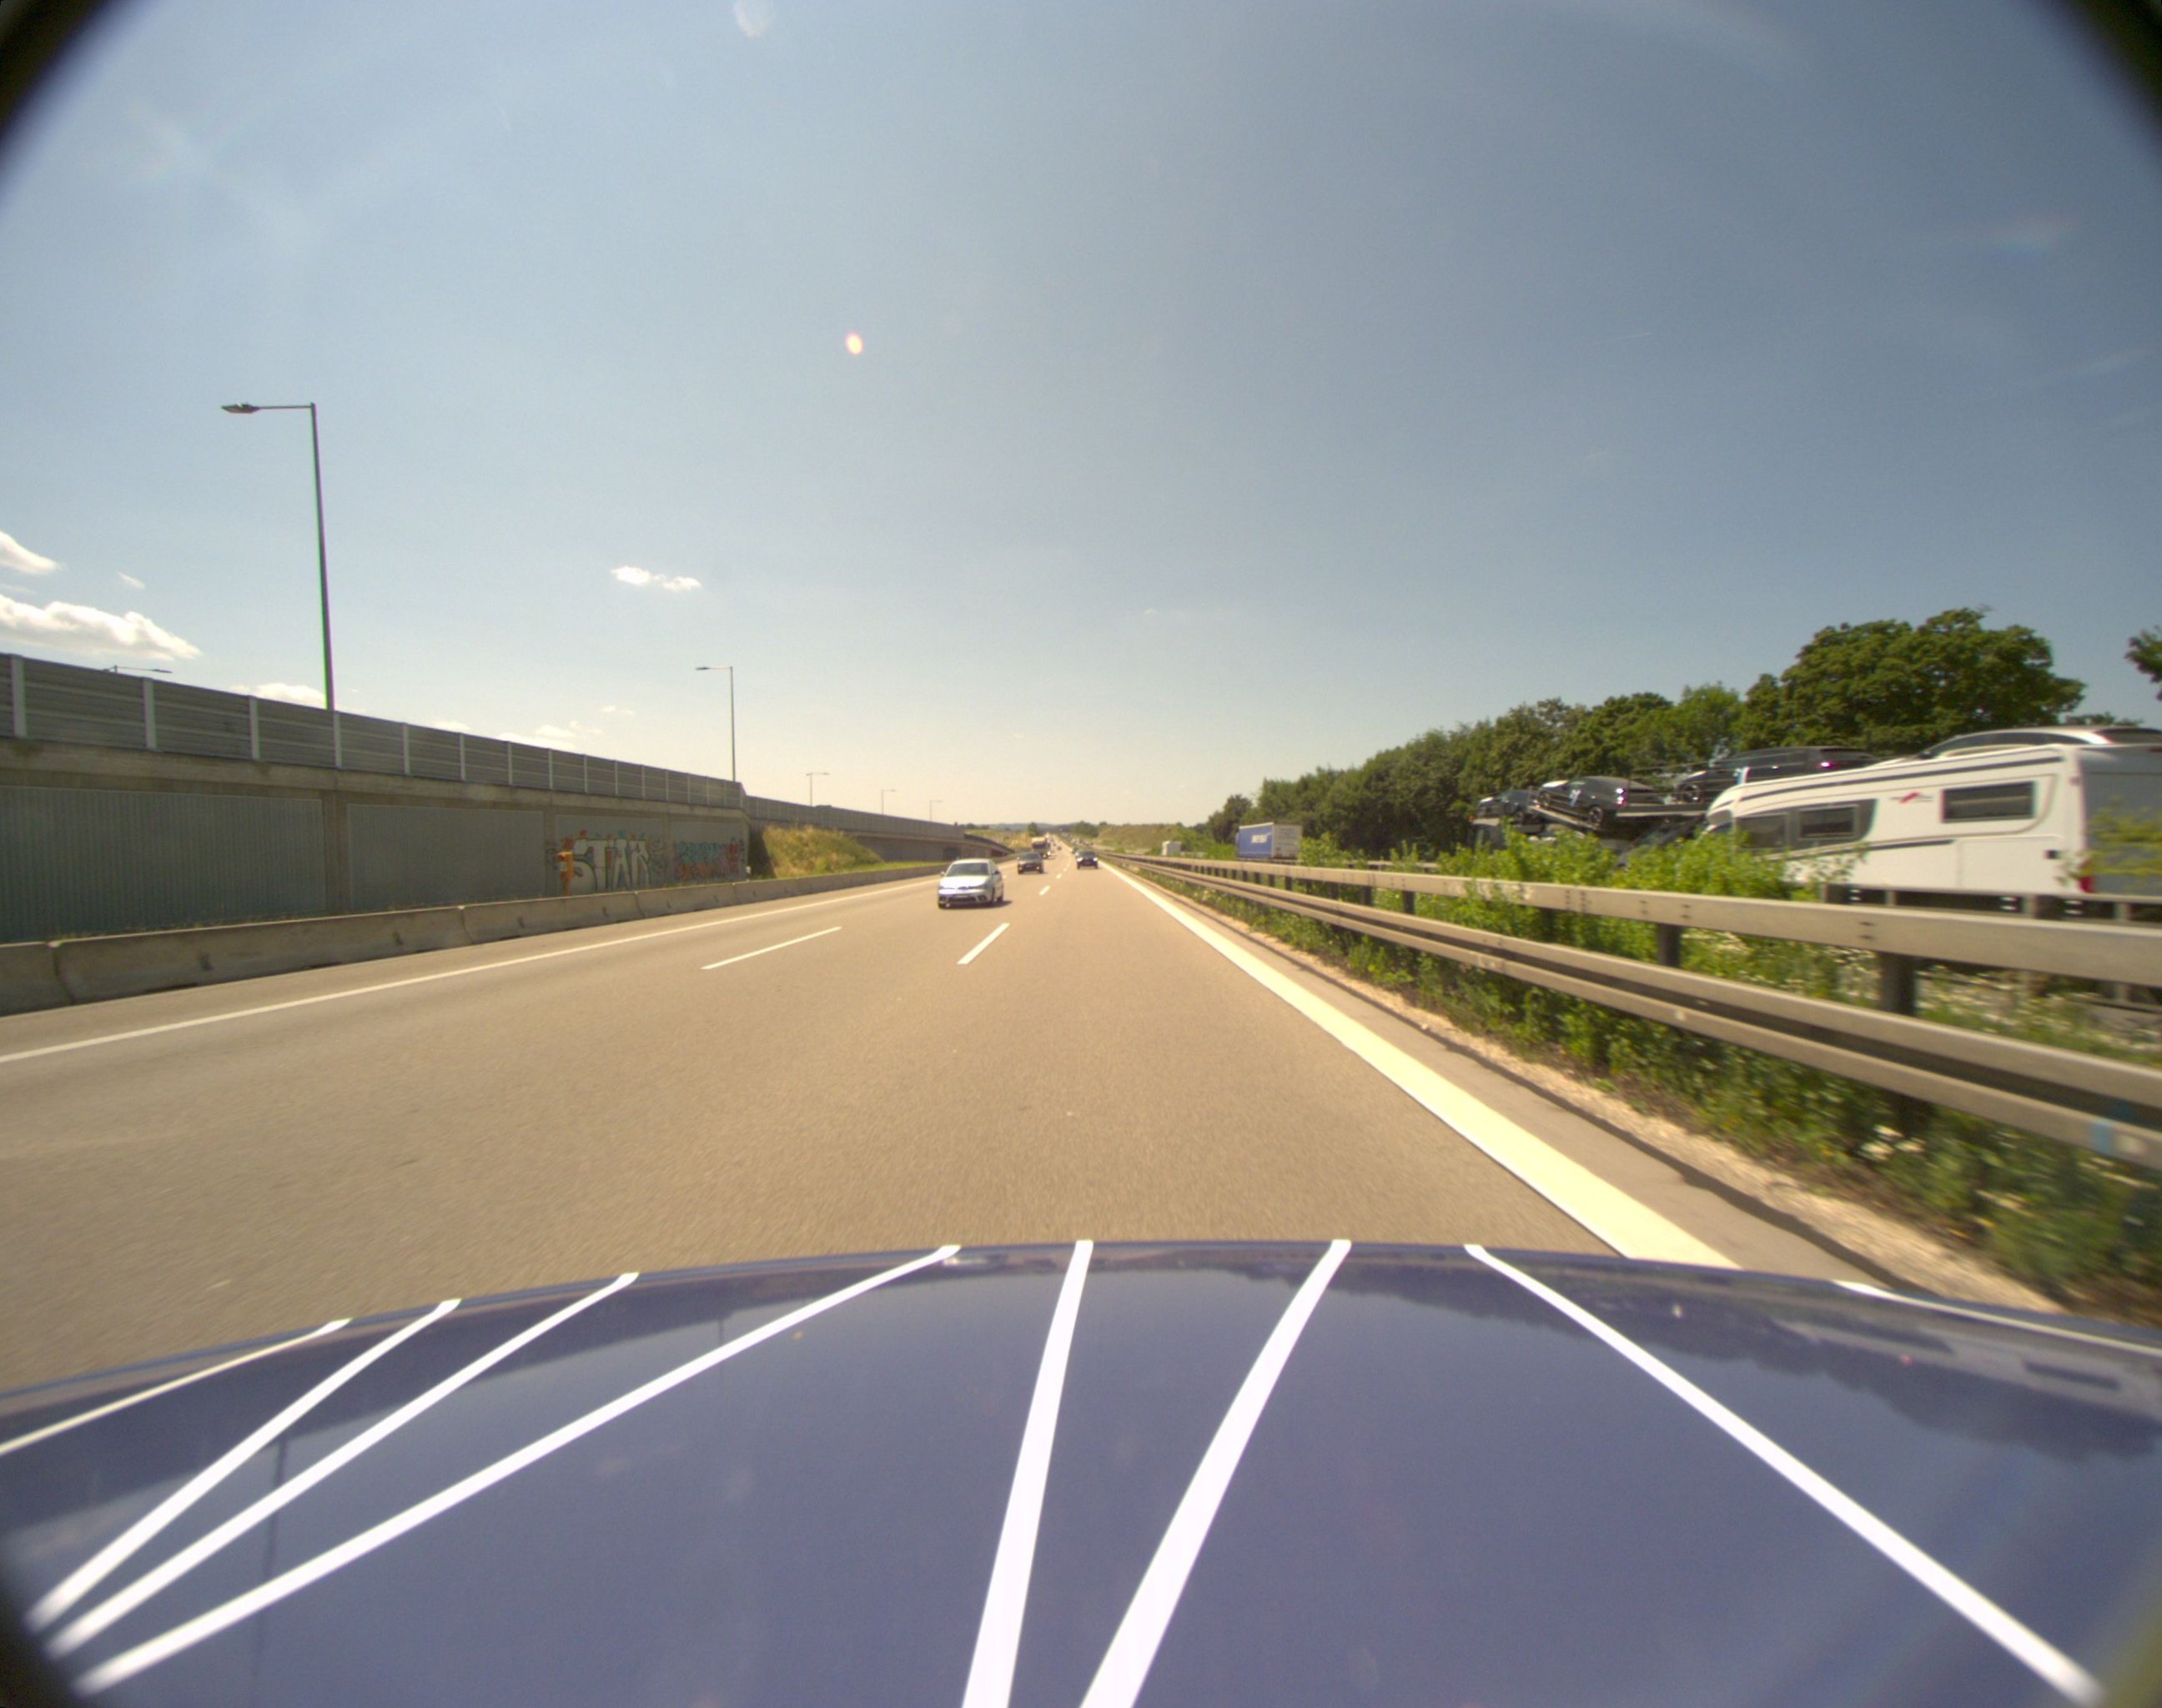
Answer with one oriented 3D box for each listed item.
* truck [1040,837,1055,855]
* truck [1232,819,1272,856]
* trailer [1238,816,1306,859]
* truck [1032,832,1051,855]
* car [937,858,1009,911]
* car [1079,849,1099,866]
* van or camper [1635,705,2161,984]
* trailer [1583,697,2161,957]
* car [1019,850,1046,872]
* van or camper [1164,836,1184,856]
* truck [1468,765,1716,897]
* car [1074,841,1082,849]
[{"bbox_3d":[-7.956,-1.873,180.307,3.368,3.976,11.733,-1,1,-3],"label":"truck"},{"bbox_3d":[18.242,-1.727,81.302,2.855,3.724,5.692,-2,1,0],"label":"truck"},{"bbox_3d":[18.220,-1.575,73.757,2.849,3.713,14.527,-2,1,0],"label":"trailer"},{"bbox_3d":[-7.494,-1.953,143.954,3.368,4.038,11.732,-2,1,-3],"label":"truck"},{"bbox_3d":[-3.280,0.888,23.738,1.634,1.381,3.999,-2,1,0],"label":"car"},{"bbox_3d":[0.701,0.260,67.885,1.751,1.439,3.999,-1,1,0],"label":"car"},{"bbox_3d":[13.120,-0.164,12.542,2.530,3.249,7.373,1,1,1],"label":"van or camper"},{"bbox_3d":[17.269,-0.541,16.562,2.692,3.825,15.177,-2,1,1],"label":"trailer"},{"bbox_3d":[-3.640,0.503,57.735,1.751,1.559,3.999,-2,1,0],"label":"car"},{"bbox_3d":[14.473,-1.269,118.789,2.276,2.952,6.952,1,1,1],"label":"van or camper"},{"bbox_3d":[17.411,-0.772,27.000,2.683,3.798,9.151,-2,1,1],"label":"truck"},{"bbox_3d":[-0.750,-2.332,203.708,1.998,2.002,3.999,-2,1,1],"label":"car"}]
